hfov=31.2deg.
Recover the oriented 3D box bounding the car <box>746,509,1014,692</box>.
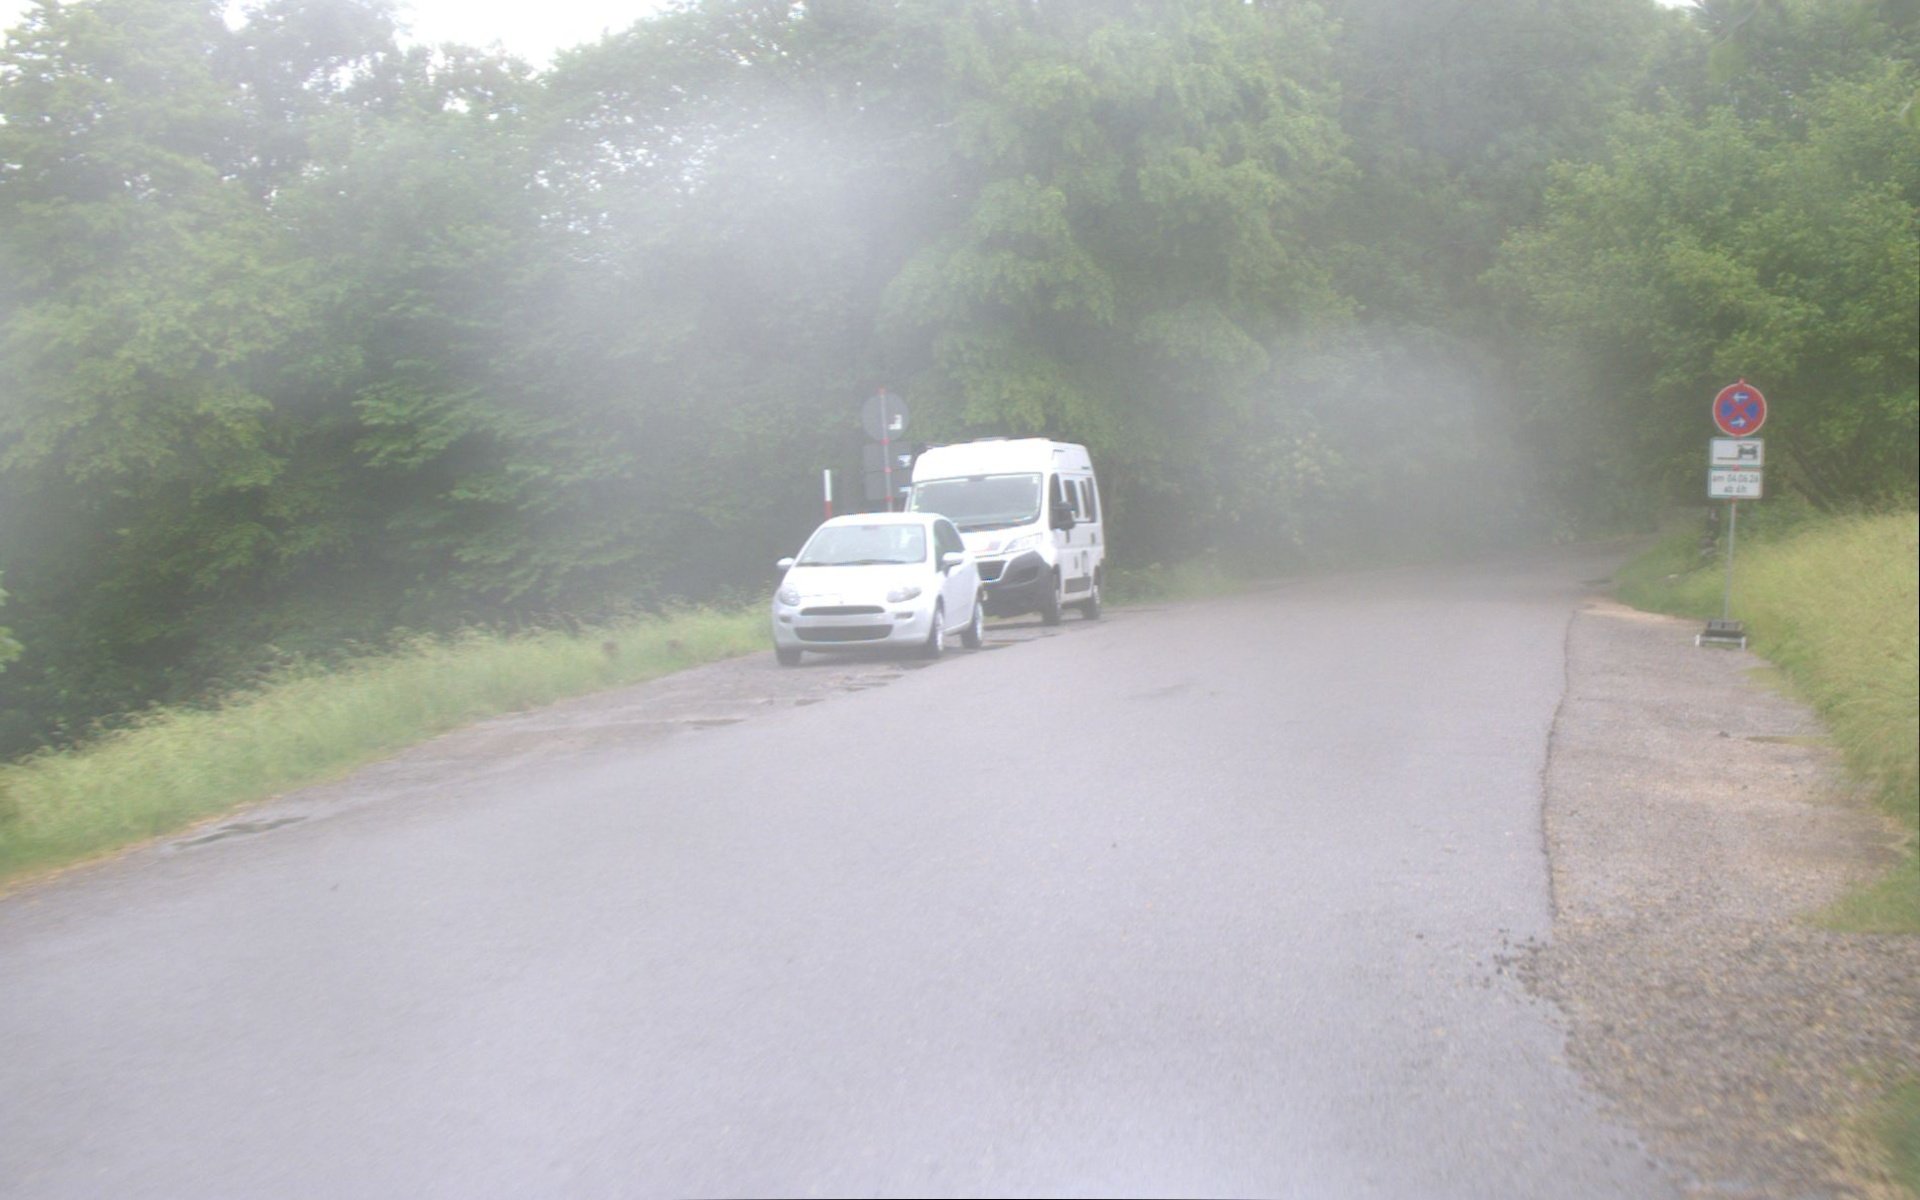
[{"bbox_3d":[-0.753,-0.052,35.760,1.862,1.590,4.494,-3,2,10],"label":"car"}]

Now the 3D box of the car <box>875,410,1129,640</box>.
[{"bbox_3d":[0.664,-1.078,45.557,2.273,2.687,6.047,-4,2,10],"label":"car"}]
